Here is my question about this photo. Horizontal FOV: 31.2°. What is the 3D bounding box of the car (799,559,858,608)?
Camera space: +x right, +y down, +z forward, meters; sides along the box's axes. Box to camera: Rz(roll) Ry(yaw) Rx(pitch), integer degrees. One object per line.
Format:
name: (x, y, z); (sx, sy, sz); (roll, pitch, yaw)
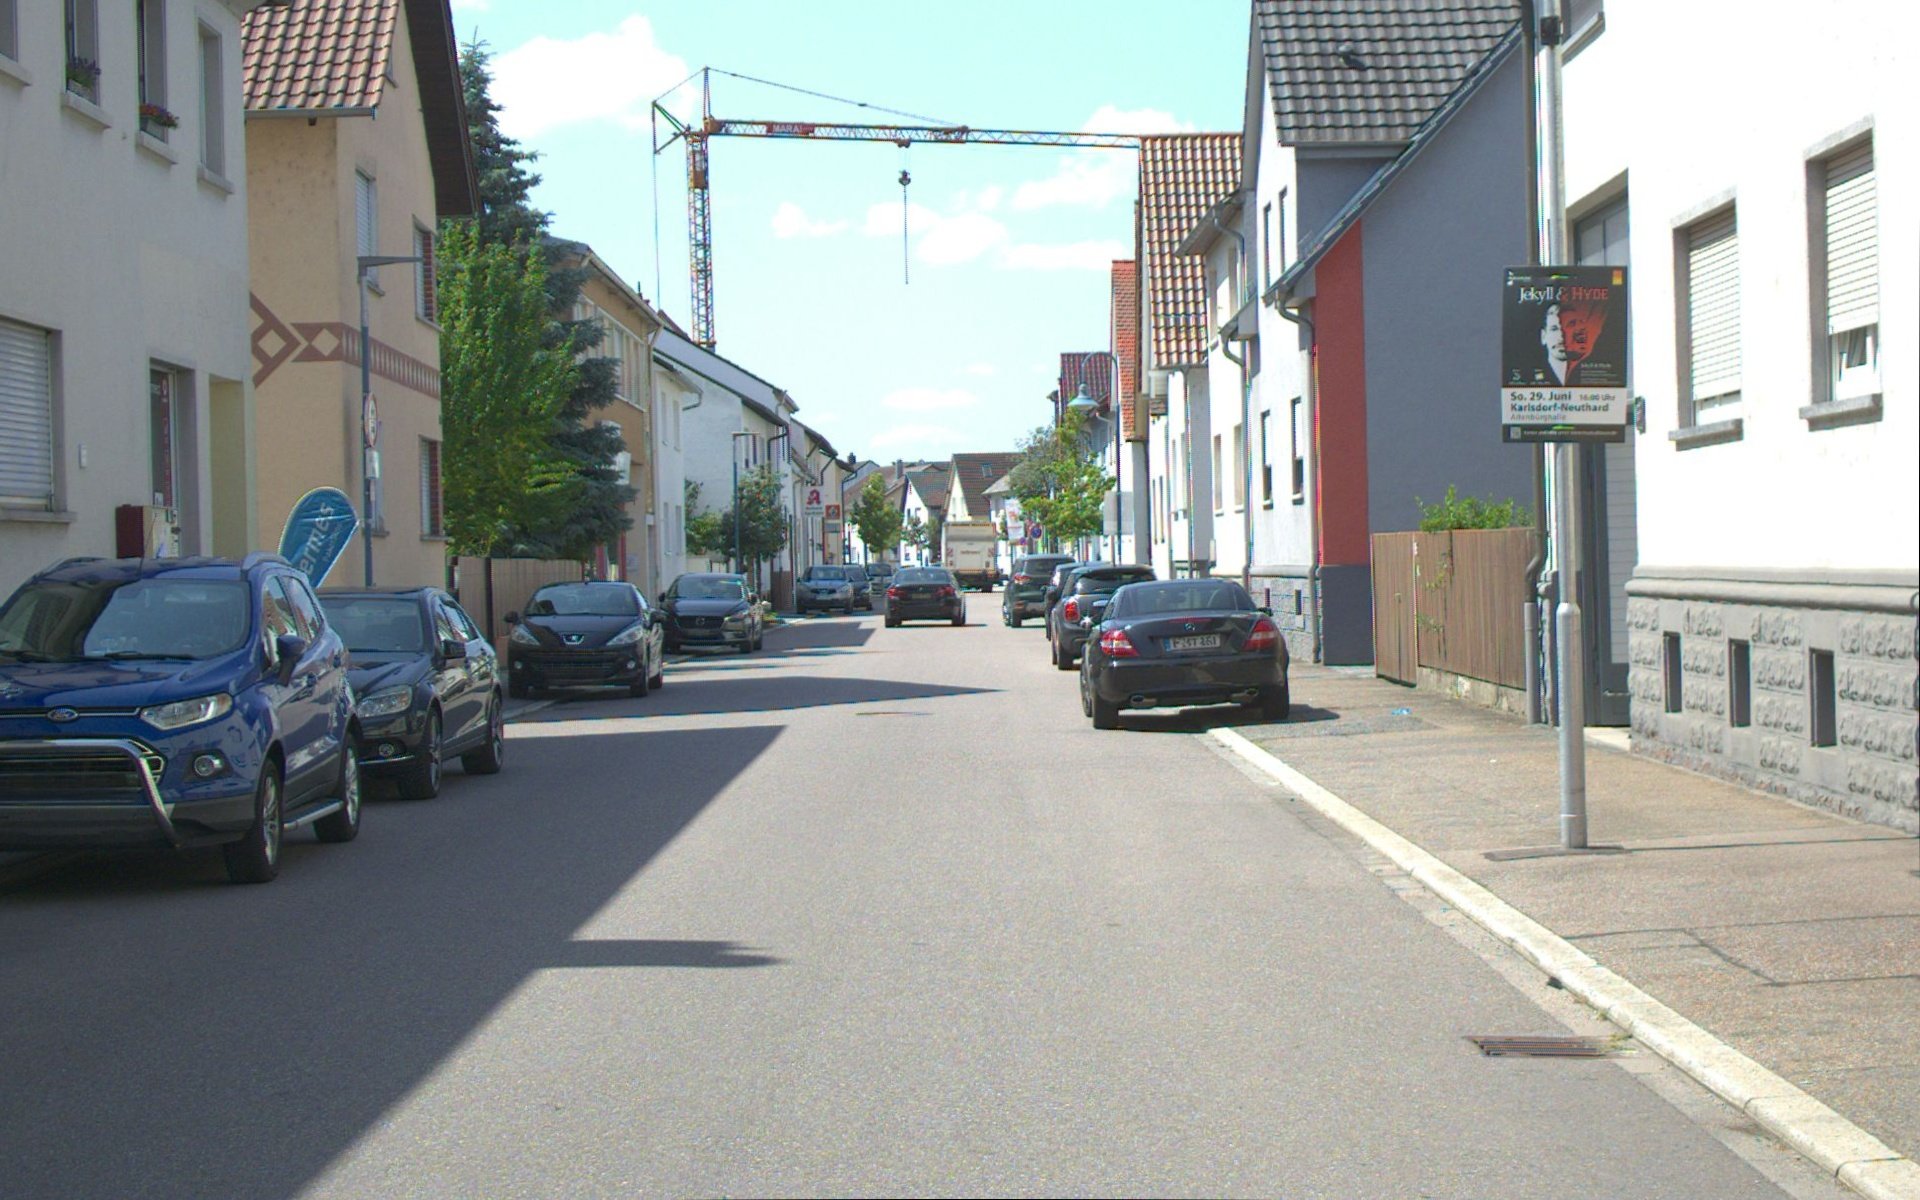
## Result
car: (-4.309, -0.556, 113.029); (1.758, 1.519, 4.289); (-2, 1, 0)

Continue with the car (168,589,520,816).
car: (-4.322, 0.668, 24.729); (1.697, 1.407, 4.390); (-1, 1, 0)

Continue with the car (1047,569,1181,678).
car: (2.143, 0.307, 48.611); (1.688, 1.417, 3.657); (-2, 1, 0)

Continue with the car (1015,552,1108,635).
car: (2.000, -0.153, 68.475); (1.617, 1.490, 3.972); (-4, 1, 0)

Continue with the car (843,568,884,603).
car: (-4.439, -0.680, 159.205); (1.723, 1.550, 4.172); (0, 1, 1)

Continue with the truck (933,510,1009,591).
truck: (0.494, -2.501, 177.007); (3.379, 3.852, 13.927); (-2, 0, -1)

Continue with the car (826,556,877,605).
car: (-3.769, -0.696, 119.824); (1.653, 1.603, 4.061); (-2, 1, 0)

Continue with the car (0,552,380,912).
car: (-4.298, 0.610, 18.288); (1.717, 1.634, 4.149); (-3, 1, -1)

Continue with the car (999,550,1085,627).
car: (1.908, -0.294, 81.082); (1.728, 1.711, 4.276); (-1, 1, -2)

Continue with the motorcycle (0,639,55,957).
motorcycle: (-4.434, 0.851, 14.229); (0.808, 1.308, 2.106); (-1, 1, 0)

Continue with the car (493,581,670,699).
car: (-4.658, 0.462, 42.745); (1.761, 1.369, 4.066); (0, 1, 0)

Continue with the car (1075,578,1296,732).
car: (2.038, 0.470, 32.079); (1.816, 1.271, 4.147); (-1, 1, 1)

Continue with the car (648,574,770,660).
car: (-4.597, 0.288, 63.508); (1.768, 1.455, 4.436); (-1, 1, 2)

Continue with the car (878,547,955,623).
car: (-1.067, -0.376, 84.166); (1.783, 1.747, 4.000); (-2, 0, -1)
